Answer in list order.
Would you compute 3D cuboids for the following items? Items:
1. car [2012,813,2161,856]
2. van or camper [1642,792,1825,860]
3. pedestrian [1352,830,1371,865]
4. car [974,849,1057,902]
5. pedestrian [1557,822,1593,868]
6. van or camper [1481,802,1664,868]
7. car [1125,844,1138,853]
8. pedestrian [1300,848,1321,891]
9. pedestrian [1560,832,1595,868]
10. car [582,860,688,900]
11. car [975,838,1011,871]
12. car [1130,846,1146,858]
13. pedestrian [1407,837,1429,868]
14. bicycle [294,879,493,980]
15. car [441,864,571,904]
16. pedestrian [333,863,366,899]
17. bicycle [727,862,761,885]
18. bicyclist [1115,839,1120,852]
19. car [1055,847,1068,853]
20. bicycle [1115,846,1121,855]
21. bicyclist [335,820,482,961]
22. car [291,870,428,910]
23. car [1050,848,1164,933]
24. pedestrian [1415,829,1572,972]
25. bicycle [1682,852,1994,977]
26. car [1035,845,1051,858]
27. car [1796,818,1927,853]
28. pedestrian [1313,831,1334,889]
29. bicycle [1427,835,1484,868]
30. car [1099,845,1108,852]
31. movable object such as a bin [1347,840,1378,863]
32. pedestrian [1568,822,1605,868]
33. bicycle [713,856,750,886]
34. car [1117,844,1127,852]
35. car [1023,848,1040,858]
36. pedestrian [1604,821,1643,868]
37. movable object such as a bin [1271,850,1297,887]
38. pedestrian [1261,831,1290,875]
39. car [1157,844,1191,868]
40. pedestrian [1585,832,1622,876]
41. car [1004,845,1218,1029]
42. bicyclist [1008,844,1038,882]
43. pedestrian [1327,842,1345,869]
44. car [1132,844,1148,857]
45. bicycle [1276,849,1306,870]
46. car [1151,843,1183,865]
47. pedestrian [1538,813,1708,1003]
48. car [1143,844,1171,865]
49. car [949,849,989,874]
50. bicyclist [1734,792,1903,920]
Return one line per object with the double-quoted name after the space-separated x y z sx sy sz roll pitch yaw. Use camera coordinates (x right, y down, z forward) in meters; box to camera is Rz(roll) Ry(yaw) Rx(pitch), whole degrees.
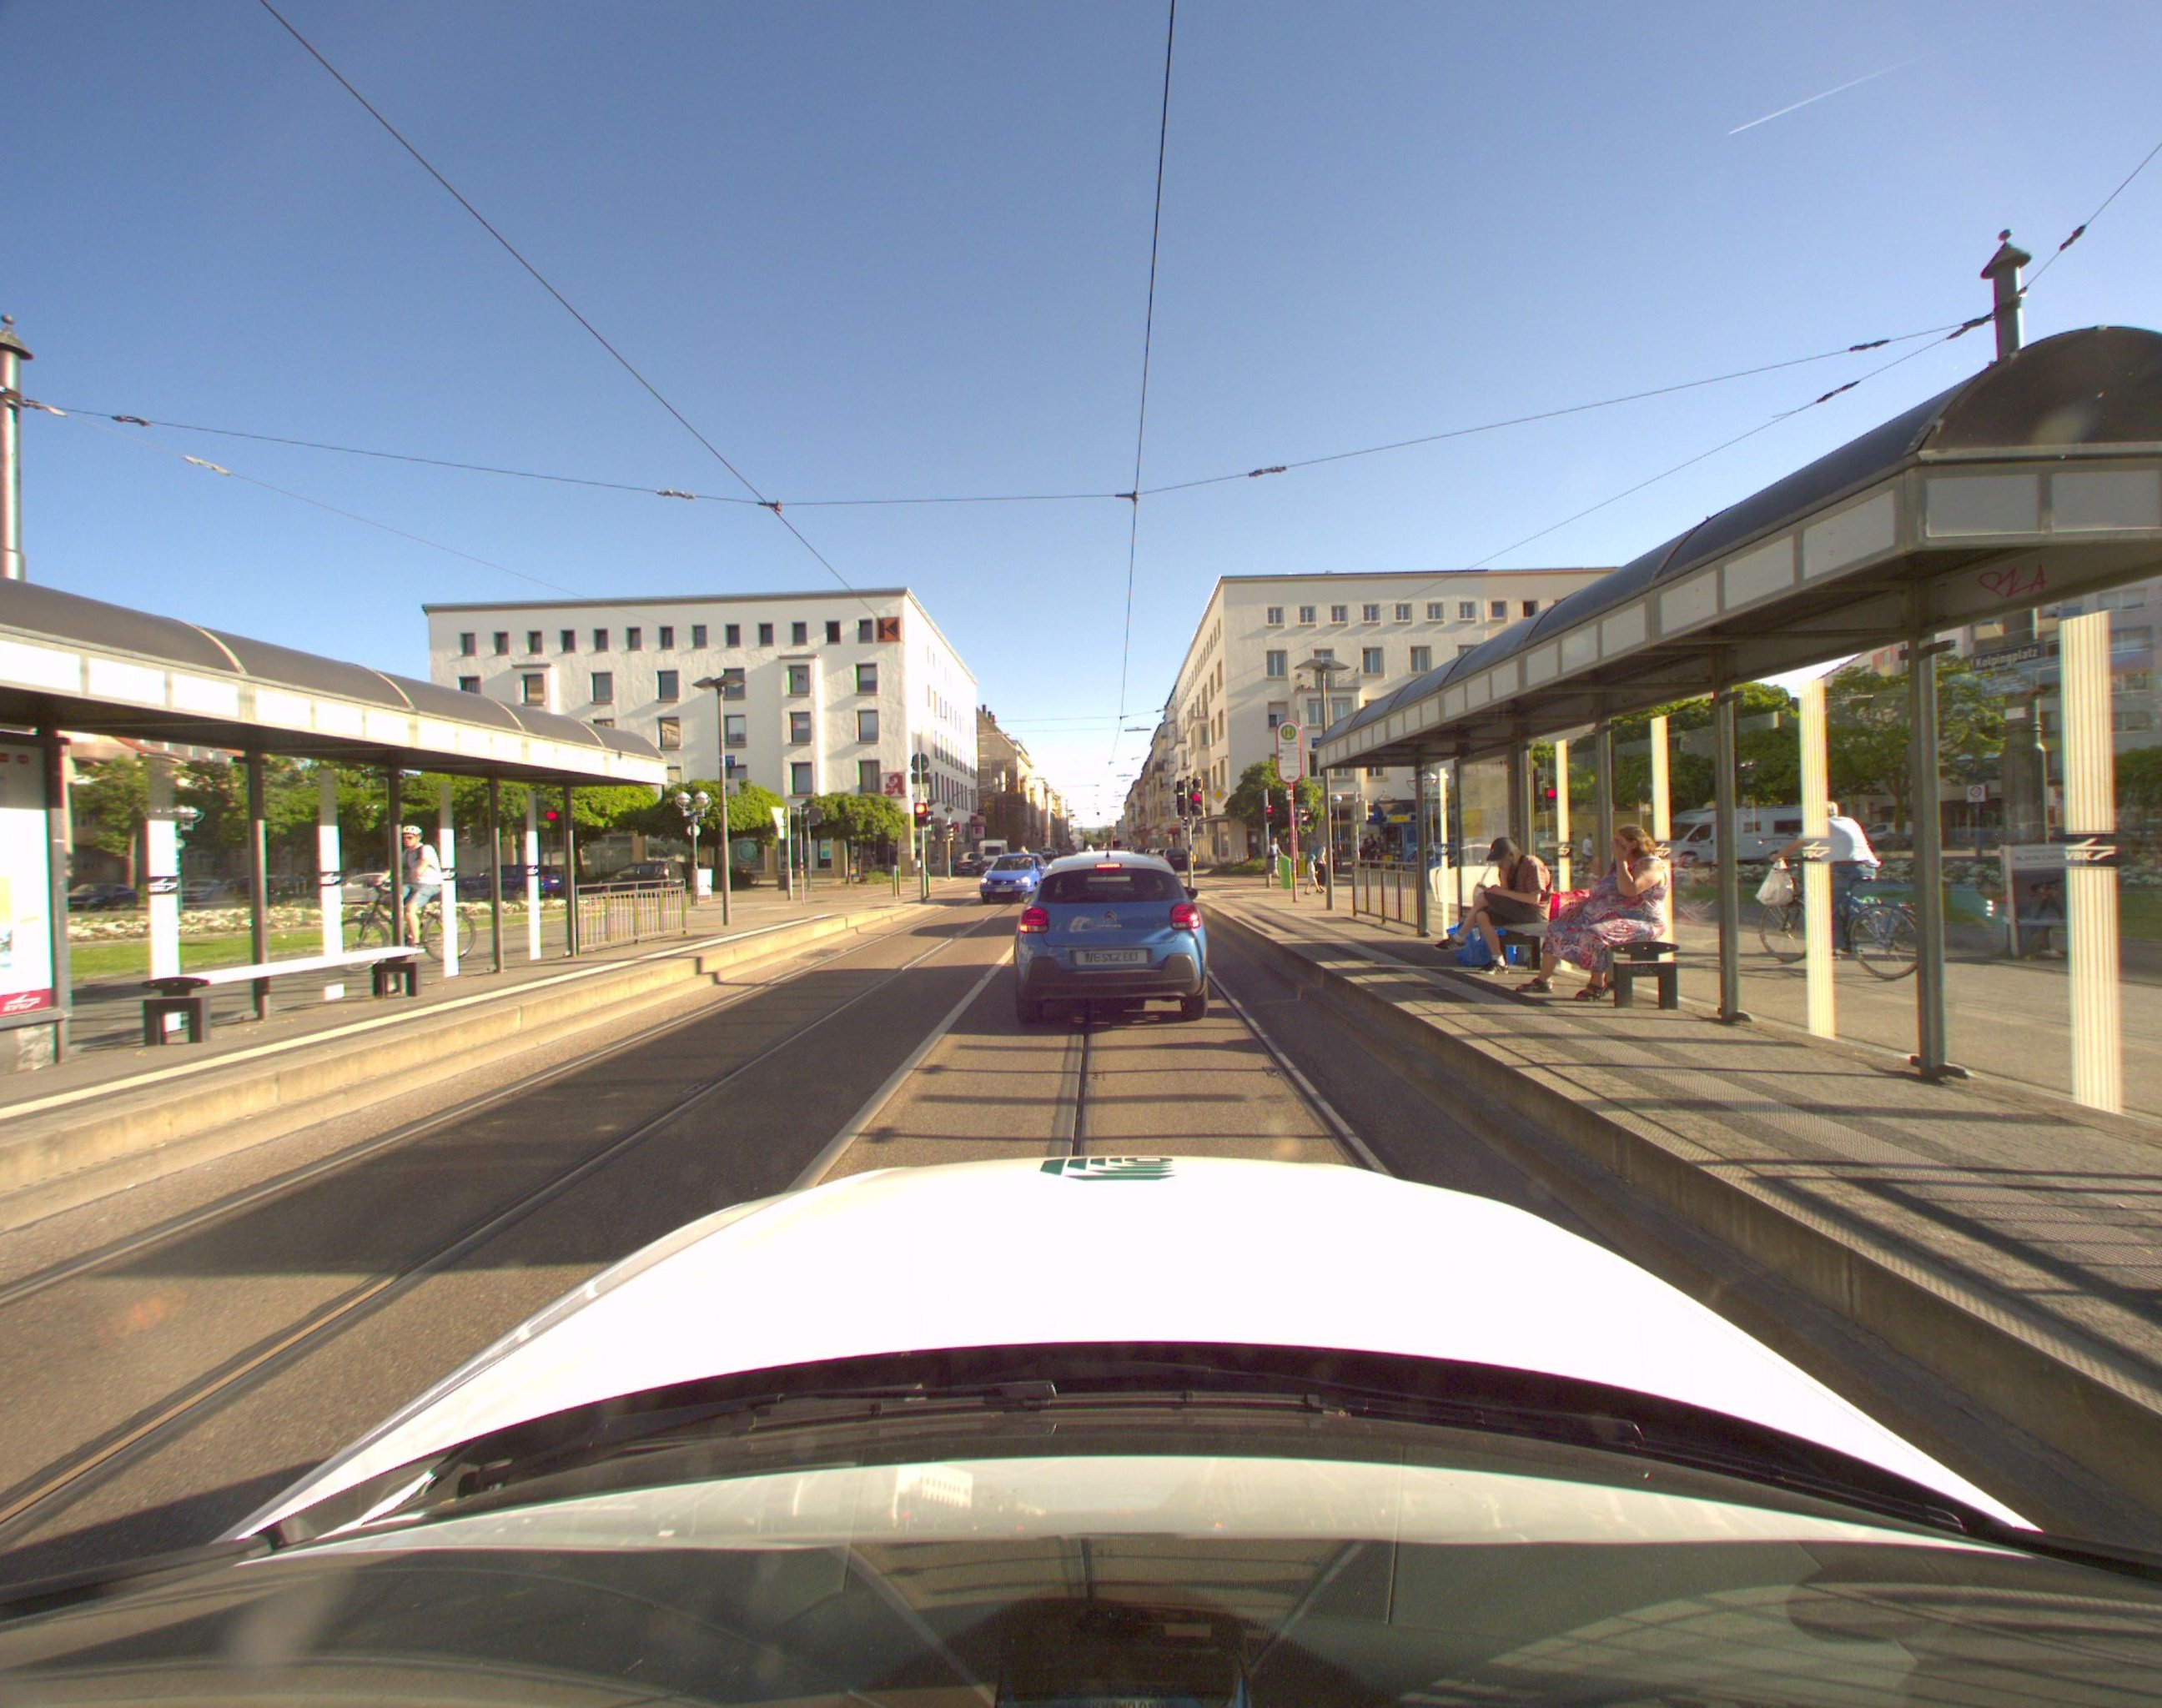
38.665 -0.744 31.235 3.983 1.486 1.995 -2 0 -7 "car"
30.200 -1.261 37.898 6.375 2.839 2.381 -2 0 5 "van or camper"
15.310 -0.359 44.457 0.781 1.839 0.679 -2 0 5 "pedestrian"
-1.939 0.599 25.444 1.657 1.487 4.010 -1 0 9 "car"
18.378 -0.331 30.301 0.896 1.685 0.697 -2 0 9 "pedestrian"
22.943 -0.921 38.255 7.093 2.746 2.372 -2 2 2 "van or camper"
8.352 -0.929 135.424 1.986 1.464 4.003 -2 0 2 "car"
6.730 0.447 23.882 0.554 1.225 0.528 -1 0 12 "pedestrian"
18.074 -0.138 29.641 0.896 1.279 0.606 -2 0 9 "pedestrian"
-21.134 1.203 38.692 3.972 1.706 1.826 -2 0 1 "car"
-6.997 0.010 65.355 2.078 2.542 6.206 -1 0 1 "car"
7.821 -0.275 112.006 1.986 1.552 4.003 -2 0 2 "car"
16.137 -0.080 38.986 0.727 1.409 0.755 -2 3 2 "pedestrian"
-9.150 0.956 10.978 0.707 1.126 2.041 -2 0 9 "bicycle"
-27.074 1.384 38.460 4.591 1.662 1.999 -2 0 -1 "car"
-38.384 1.424 42.729 0.938 1.817 0.872 -2 0 13 "pedestrian"
-18.991 1.080 45.964 0.615 1.190 2.624 -2 0 5 "bicycle"
5.806 -1.372 129.651 0.806 2.013 0.923 -1 0 1 "bicyclist"
-4.466 -0.901 187.580 1.981 1.156 4.529 -2 0 11 "car"
5.842 -0.610 129.427 0.916 1.389 3.133 -2 0 2 "bicycle"
-9.121 0.471 11.101 0.998 1.793 1.098 -2 0 8 "bicyclist"
-33.400 1.640 37.808 4.591 1.606 1.855 -2 0 -1 "car"
0.535 0.623 16.834 1.977 1.464 4.817 -1 0 2 "car"
3.785 0.406 7.563 0.995 1.225 0.923 1 0 2 "pedestrian"
7.517 0.525 8.296 0.720 1.061 2.311 0 1 -15 "bicycle"
-5.960 -0.406 129.563 1.997 2.013 4.694 -1 0 4 "car"
36.716 -0.826 38.426 3.959 1.511 2.007 -1 0 13 "car"
7.451 0.175 25.029 0.554 1.745 0.528 -1 0 12 "pedestrian"
17.814 -0.106 38.790 2.376 1.531 0.726 0 0 0 "bicycle"
5.646 -1.461 205.084 1.988 1.778 3.997 -2 0 -2 "car"
14.612 -0.118 42.264 1.194 1.153 1.218 -2 0 2 "movable object such as a bin"
17.950 -0.310 28.932 0.897 1.585 0.663 -2 0 5 "pedestrian"
-19.716 0.951 46.006 0.614 1.607 2.625 -2 0 6 "bicycle"
8.943 -1.311 176.225 1.986 1.772 4.002 -2 0 2 "car"
-6.434 -0.127 106.220 1.987 1.325 3.923 -1 0 1 "car"
19.100 -0.331 28.666 0.897 1.585 0.663 -2 0 5 "pedestrian"
4.428 0.305 17.779 0.447 0.786 0.489 -2 0 4 "movable object such as a bin"
8.673 -0.032 36.336 0.978 1.877 1.128 -2 -1 -1 "pedestrian"
6.195 0.093 54.615 1.902 1.464 4.003 -2 0 2 "car"
19.369 -0.012 30.205 0.897 1.585 0.663 -2 0 5 "pedestrian"
0.304 0.664 8.574 1.721 1.482 3.828 -1 0 2 "car"
-2.286 0.330 31.944 0.880 1.455 0.822 -1 0 -32 "bicyclist"
12.884 0.072 41.103 0.733 1.316 0.632 -2 0 25 "pedestrian"
7.540 -0.447 104.334 1.985 1.464 4.507 -2 0 2 "car"
11.532 0.280 44.710 1.556 1.120 0.301 -1 0 12 "bicycle"
6.205 0.008 59.006 1.986 1.464 4.003 -2 0 2 "car"
4.027 0.383 6.104 0.855 1.334 0.623 1 0 1 "pedestrian"
6.067 0.018 65.183 1.986 1.501 4.003 -2 0 2 "car"
-7.535 0.506 55.001 1.987 1.569 4.403 1 0 1 "car"
7.516 0.009 8.339 0.952 1.225 0.929 0 1 -14 "bicyclist"
